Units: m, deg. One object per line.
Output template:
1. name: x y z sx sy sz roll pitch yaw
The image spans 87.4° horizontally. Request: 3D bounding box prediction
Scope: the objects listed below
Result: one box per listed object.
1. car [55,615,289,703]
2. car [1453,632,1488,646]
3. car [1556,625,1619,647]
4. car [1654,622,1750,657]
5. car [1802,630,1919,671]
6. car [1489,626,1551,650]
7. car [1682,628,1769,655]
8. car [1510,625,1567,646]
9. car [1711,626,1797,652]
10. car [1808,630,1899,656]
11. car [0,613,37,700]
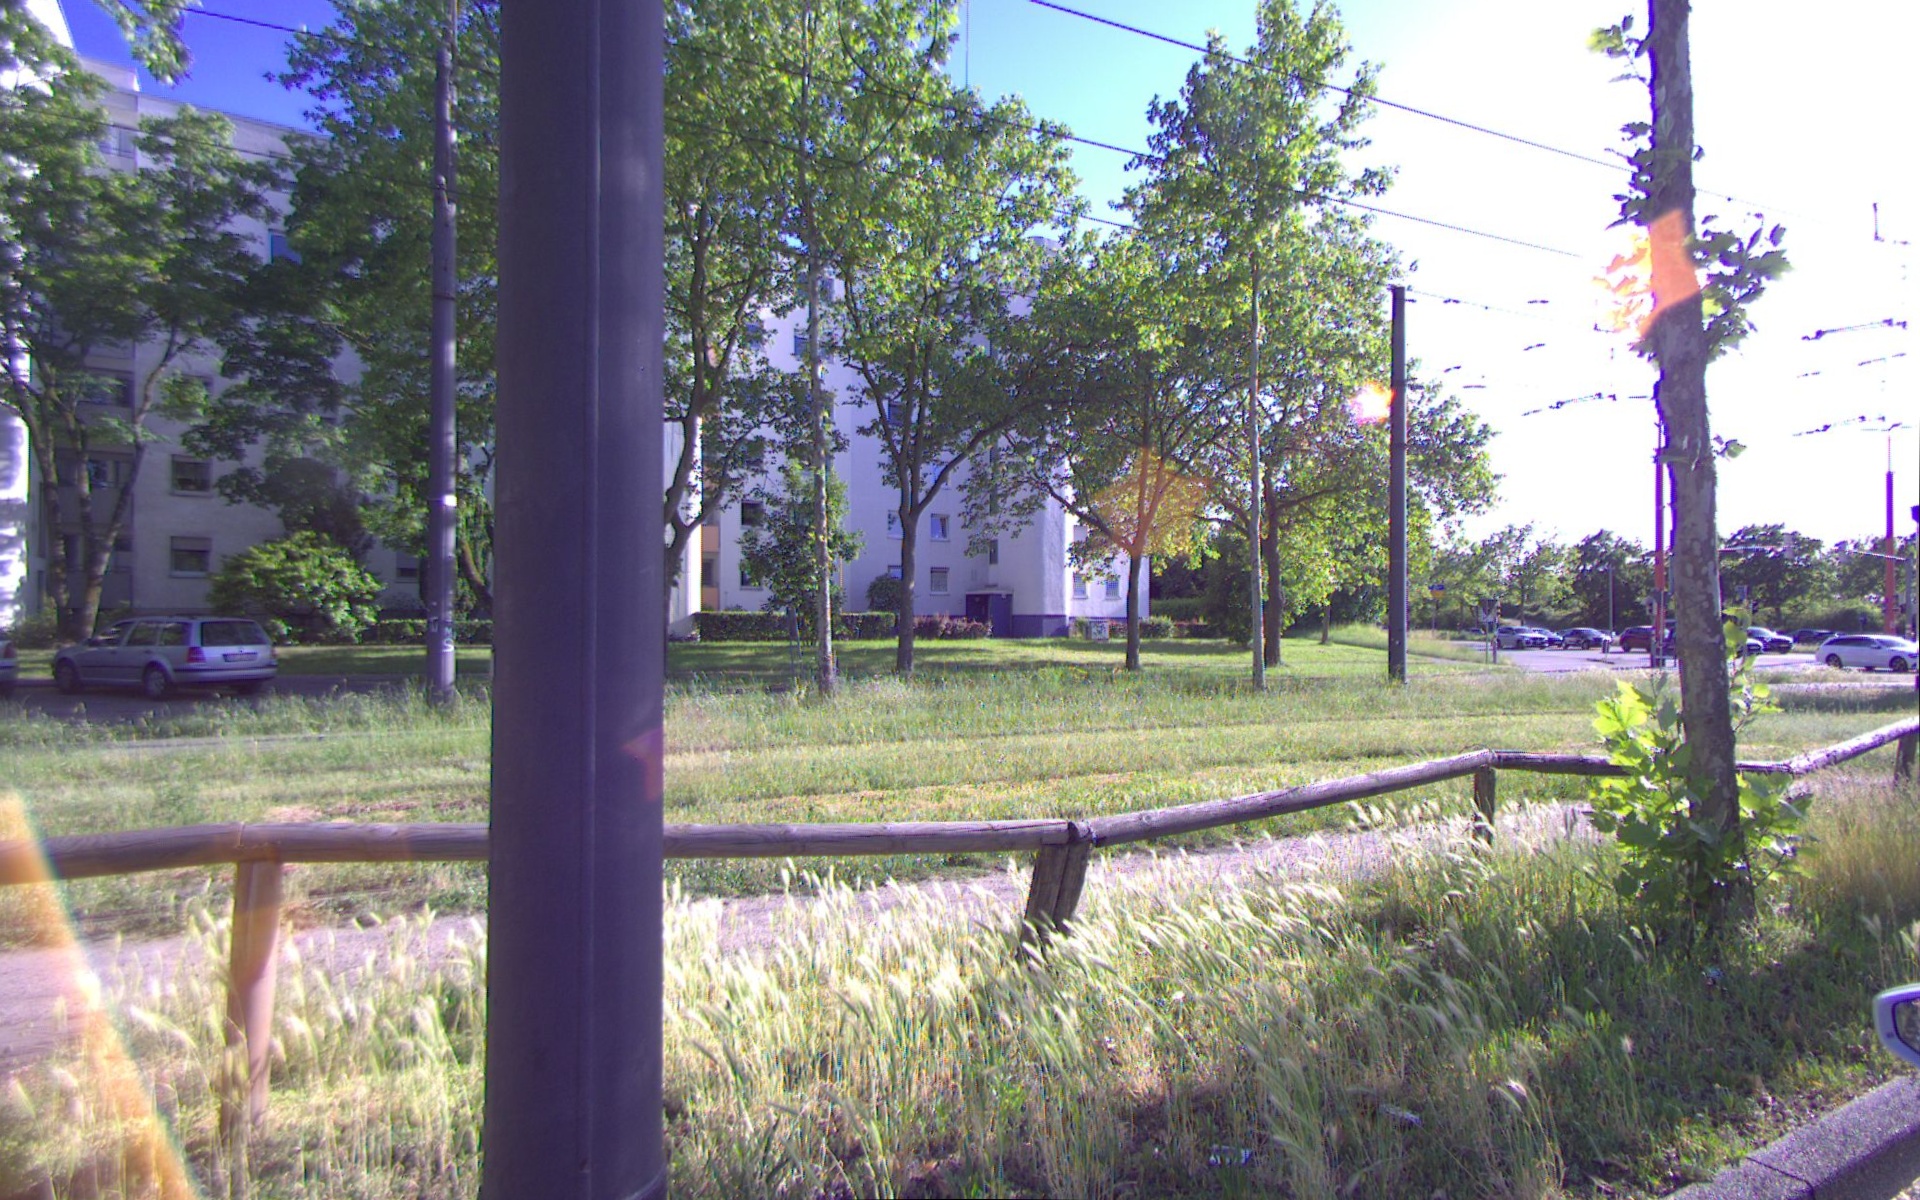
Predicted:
1. car: -14.476 1.023 18.488 3.609 1.452 1.732 0 -1 20
2. car: 61.799 4.686 121.691 1.961 1.617 4.468 1 -1 -1
3. car: 45.008 2.561 72.140 1.877 1.483 4.055 1 -1 -3
4. car: 42.361 2.221 57.516 1.877 1.860 4.795 1 -1 -2
5. car: 39.008 2.115 42.782 1.961 1.596 4.928 1 -1 -3
6. car: 42.165 2.840 75.779 1.877 1.619 4.795 1 -1 -2
7. car: 45.663 2.462 60.041 1.877 1.483 4.222 1 -1 -2
8. car: 44.832 2.738 77.949 1.877 1.483 4.239 1 -1 -3
9. car: 48.626 2.388 61.640 1.877 1.483 4.222 1 -1 -2
10. car: 59.225 2.832 66.668 1.961 1.617 4.466 1 -1 -3
11. car: -17.920 0.924 17.144 3.609 1.452 1.703 0 -1 20
